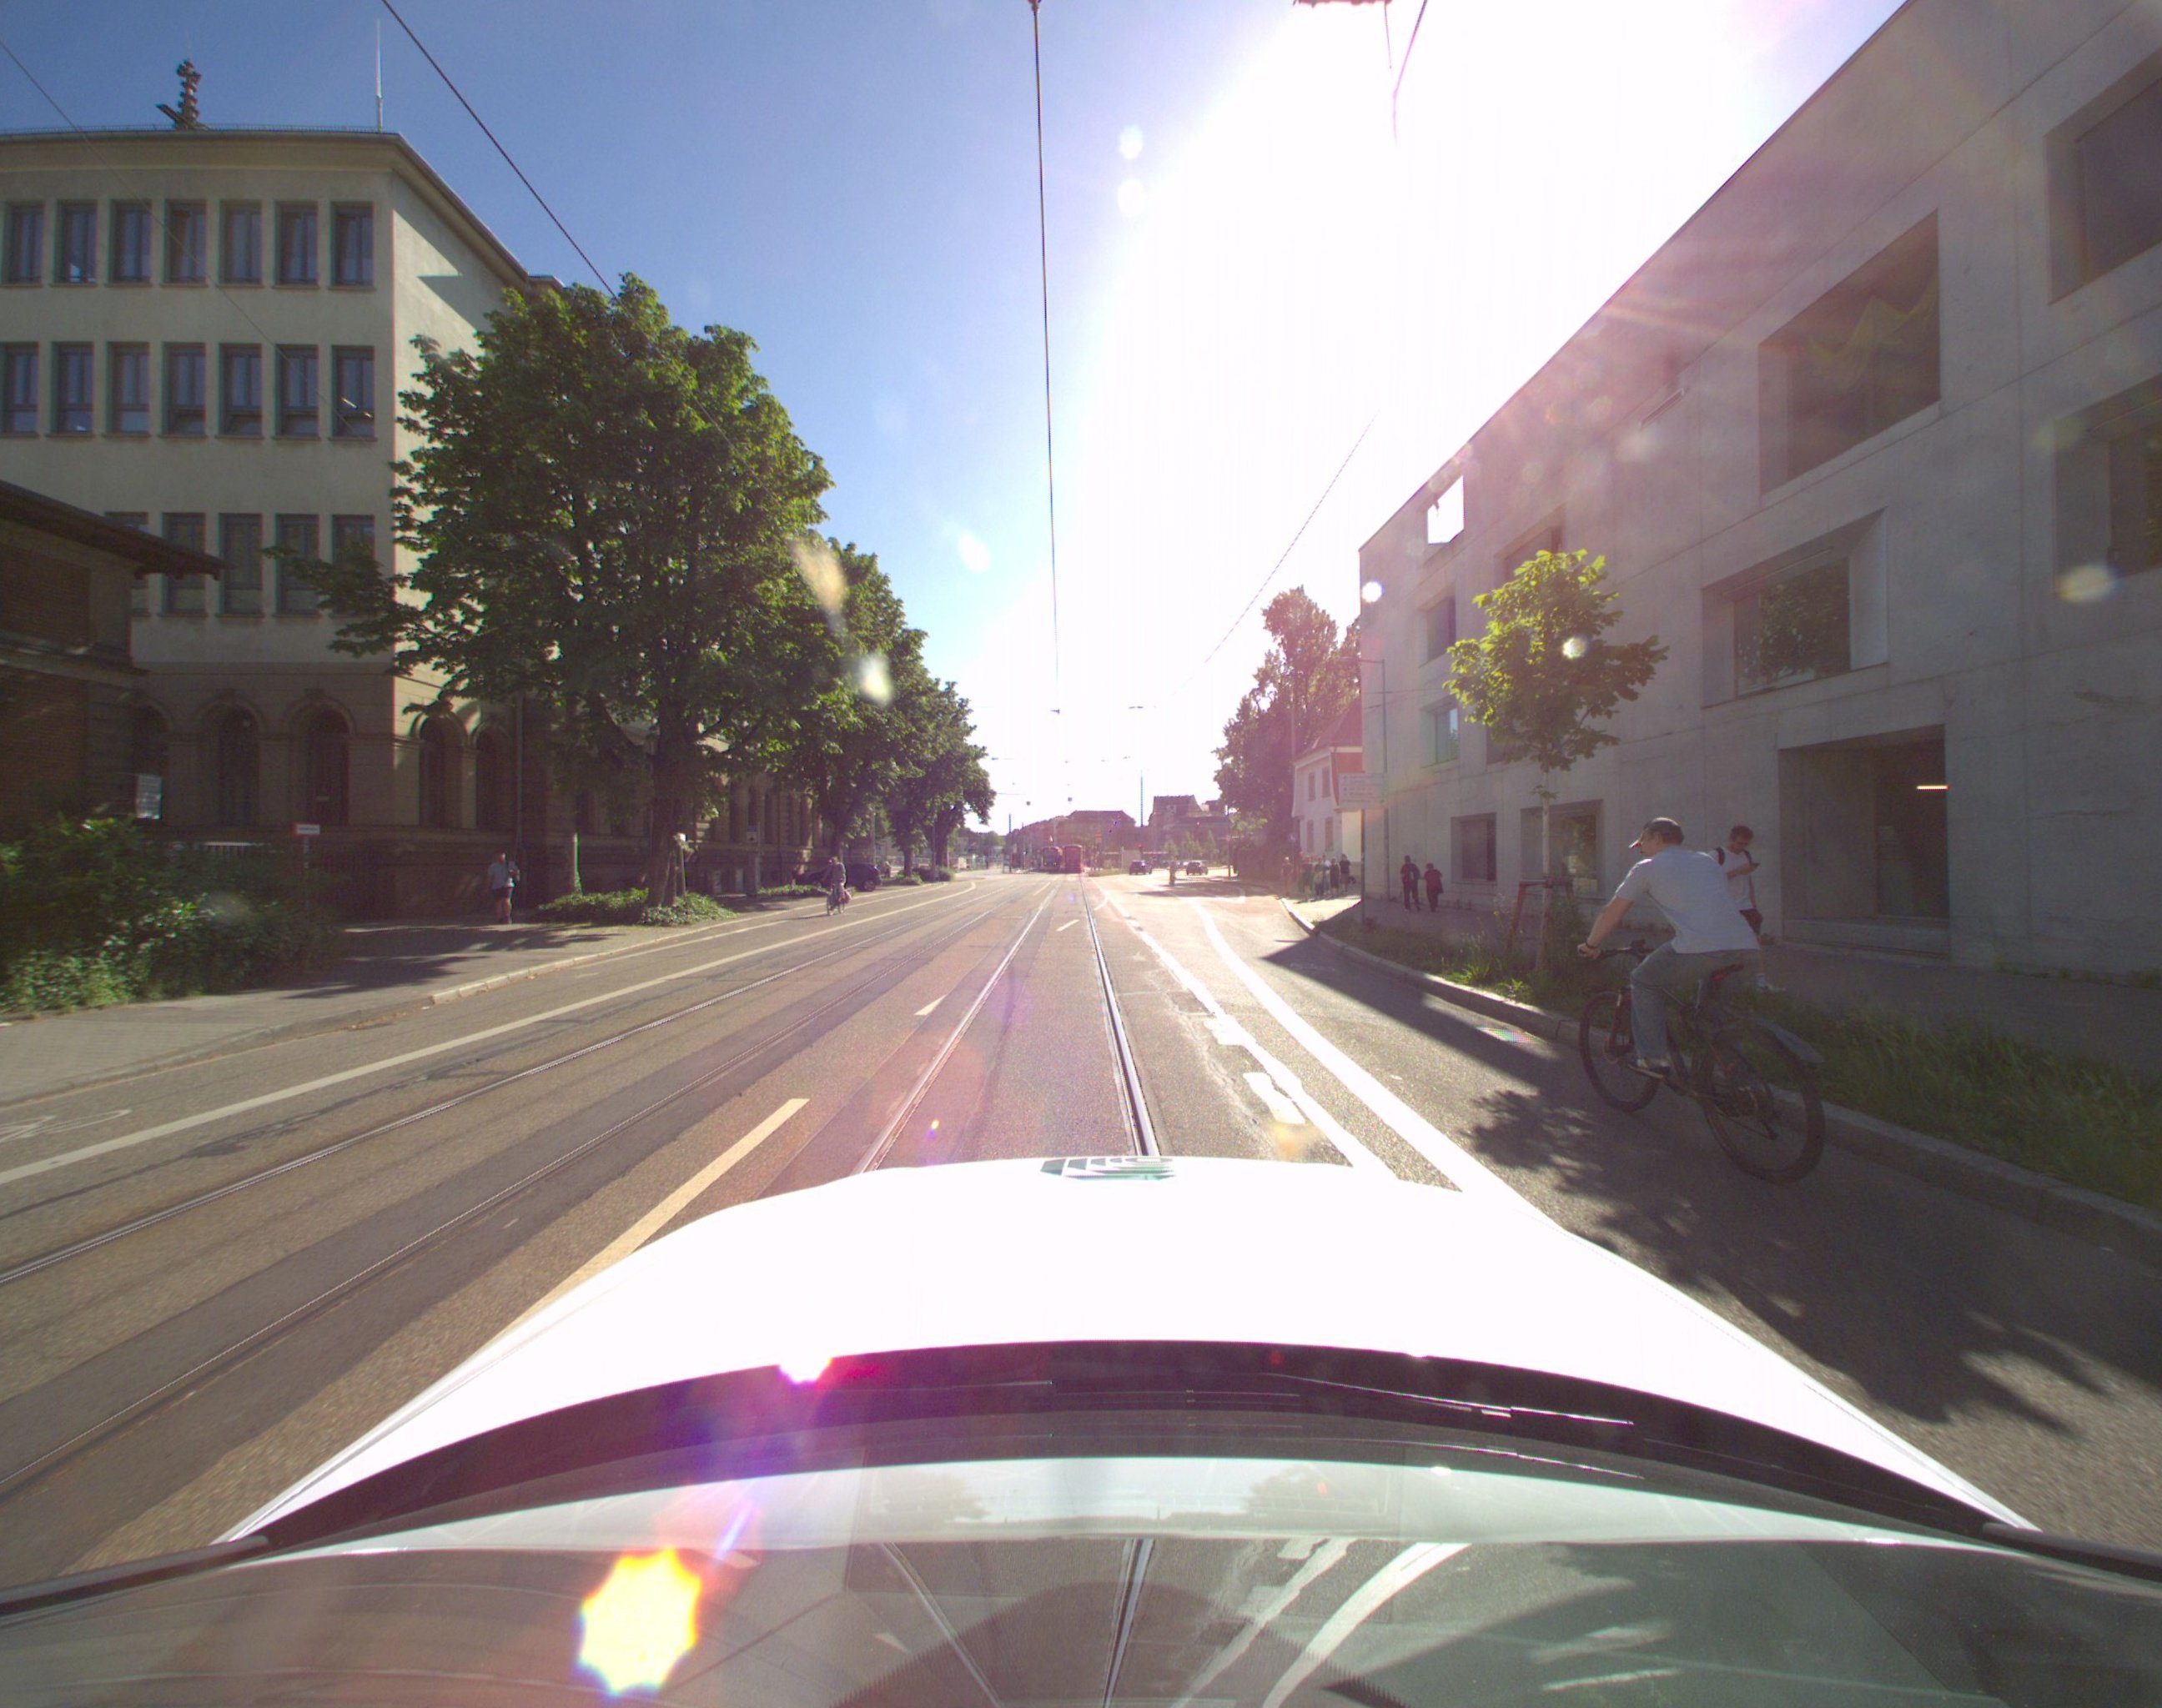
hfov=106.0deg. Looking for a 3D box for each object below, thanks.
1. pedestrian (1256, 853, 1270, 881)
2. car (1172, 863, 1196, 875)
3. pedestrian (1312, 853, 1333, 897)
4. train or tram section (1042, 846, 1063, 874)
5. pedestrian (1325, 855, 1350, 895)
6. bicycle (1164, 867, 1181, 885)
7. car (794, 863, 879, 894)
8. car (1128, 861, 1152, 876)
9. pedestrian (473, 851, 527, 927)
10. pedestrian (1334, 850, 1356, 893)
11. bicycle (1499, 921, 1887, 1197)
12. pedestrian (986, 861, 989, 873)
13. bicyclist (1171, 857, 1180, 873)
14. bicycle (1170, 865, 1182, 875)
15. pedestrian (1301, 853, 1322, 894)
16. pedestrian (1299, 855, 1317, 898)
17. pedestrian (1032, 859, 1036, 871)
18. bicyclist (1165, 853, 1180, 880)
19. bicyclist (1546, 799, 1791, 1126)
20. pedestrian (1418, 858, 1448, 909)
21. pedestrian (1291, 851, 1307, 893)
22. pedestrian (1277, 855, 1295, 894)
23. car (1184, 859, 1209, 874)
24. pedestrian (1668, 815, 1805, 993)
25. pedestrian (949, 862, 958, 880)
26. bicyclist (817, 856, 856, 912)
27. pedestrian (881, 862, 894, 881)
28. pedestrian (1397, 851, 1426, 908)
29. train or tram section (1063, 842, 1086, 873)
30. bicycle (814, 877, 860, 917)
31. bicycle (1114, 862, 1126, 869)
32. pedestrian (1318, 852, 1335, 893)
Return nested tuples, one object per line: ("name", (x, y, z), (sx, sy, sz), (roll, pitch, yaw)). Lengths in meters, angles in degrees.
("pedestrian", (12.776, 0.889, 57.226), (0.635, 1.904, 1.134), (-3, -1, 1))
("car", (13.977, 1.998, 110.644), (1.685, 1.643, 3.736), (1, 0, 35))
("pedestrian", (10.002, 0.868, 33.707), (0.642, 1.763, 0.959), (-5, -1, 14))
("train or tram section", (-3.965, 0.807, 114.761), (2.734, 3.651, 13.778), (0, 0, -1))
("pedestrian", (10.784, 0.887, 34.268), (0.823, 1.604, 0.897), (-5, -1, 14))
("bicycle", (5.797, 1.361, 51.494), (0.699, 1.104, 1.725), (1, 0, 19))
("car", (-12.798, 1.256, 42.631), (4.009, 1.550, 1.860), (1, -1, -28))
("car", (6.398, 1.527, 88.228), (1.774, 1.604, 3.730), (1, 0, 18))
("pedestrian", (-14.192, 0.852, 19.912), (0.729, 1.797, 0.777), (3, -1, -11))
("pedestrian", (11.538, 0.753, 35.580), (0.653, 1.802, 0.733), (-4, -1, 7))
("bicycle", (3.335, 1.019, 4.768), (0.735, 1.094, 2.112), (1, -1, 2))
("pedestrian", (-16.959, 2.363, 147.883), (0.523, 2.014, 0.522), (-1, -1, 4))
("bicyclist", (10.572, 1.212, 90.979), (0.698, 1.700, 0.992), (2, 0, 24))
("bicycle", (10.661, 1.785, 91.214), (0.698, 1.055, 2.326), (2, 0, 24))
("pedestrian", (10.441, 0.886, 36.928), (0.523, 1.774, 0.740), (-6, -2, 40))
("pedestrian", (9.364, 0.918, 33.612), (0.492, 1.728, 0.818), (-5, -1, 8))
("pedestrian", (-7.261, 1.765, 126.199), (0.625, 1.827, 0.662), (0, -1, -2))
("bicyclist", (5.810, 0.778, 51.497), (0.699, 1.675, 1.106), (1, 0, 19))
("bicyclist", (3.338, 0.565, 4.723), (0.736, 1.686, 0.972), (1, -1, 1))
("pedestrian", (9.945, 0.824, 23.023), (0.515, 1.404, 0.765), (-1, -1, 2))
("pedestrian", (10.027, 0.827, 37.441), (0.516, 1.902, 0.613), (-4, -1, 7))
("pedestrian", (9.453, 0.949, 37.517), (0.603, 1.747, 0.719), (-4, -1, 7))
("car", (12.761, 1.355, 89.644), (1.773, 1.511, 3.732), (1, 0, 22))
("pedestrian", (7.235, 0.528, 9.039), (0.682, 1.849, 0.955), (-2, -1, -2))
("pedestrian", (-12.086, 1.619, 77.172), (0.639, 1.697, 0.812), (-1, -1, -27))
("bicyclist", (-7.476, 0.897, 24.947), (0.683, 1.644, 1.238), (-2, -1, 4))
("pedestrian", (-15.356, 1.366, 64.696), (0.924, 1.504, 0.700), (0, -1, -23))
("pedestrian", (9.387, 0.718, 23.169), (0.515, 1.601, 0.765), (-1, -1, 2))
("train or tram section", (-0.841, 0.428, 103.767), (2.734, 3.651, 13.778), (0, 0, -1))
("bicycle", (-7.460, 1.294, 24.960), (0.683, 1.124, 1.933), (-2, -1, 4))
("bicycle", (6.267, 1.844, 131.314), (1.929, 1.103, 0.598), (0, 0, -3))
("pedestrian", (11.025, 0.837, 36.572), (0.605, 1.774, 0.656), (-5, -1, 15))
